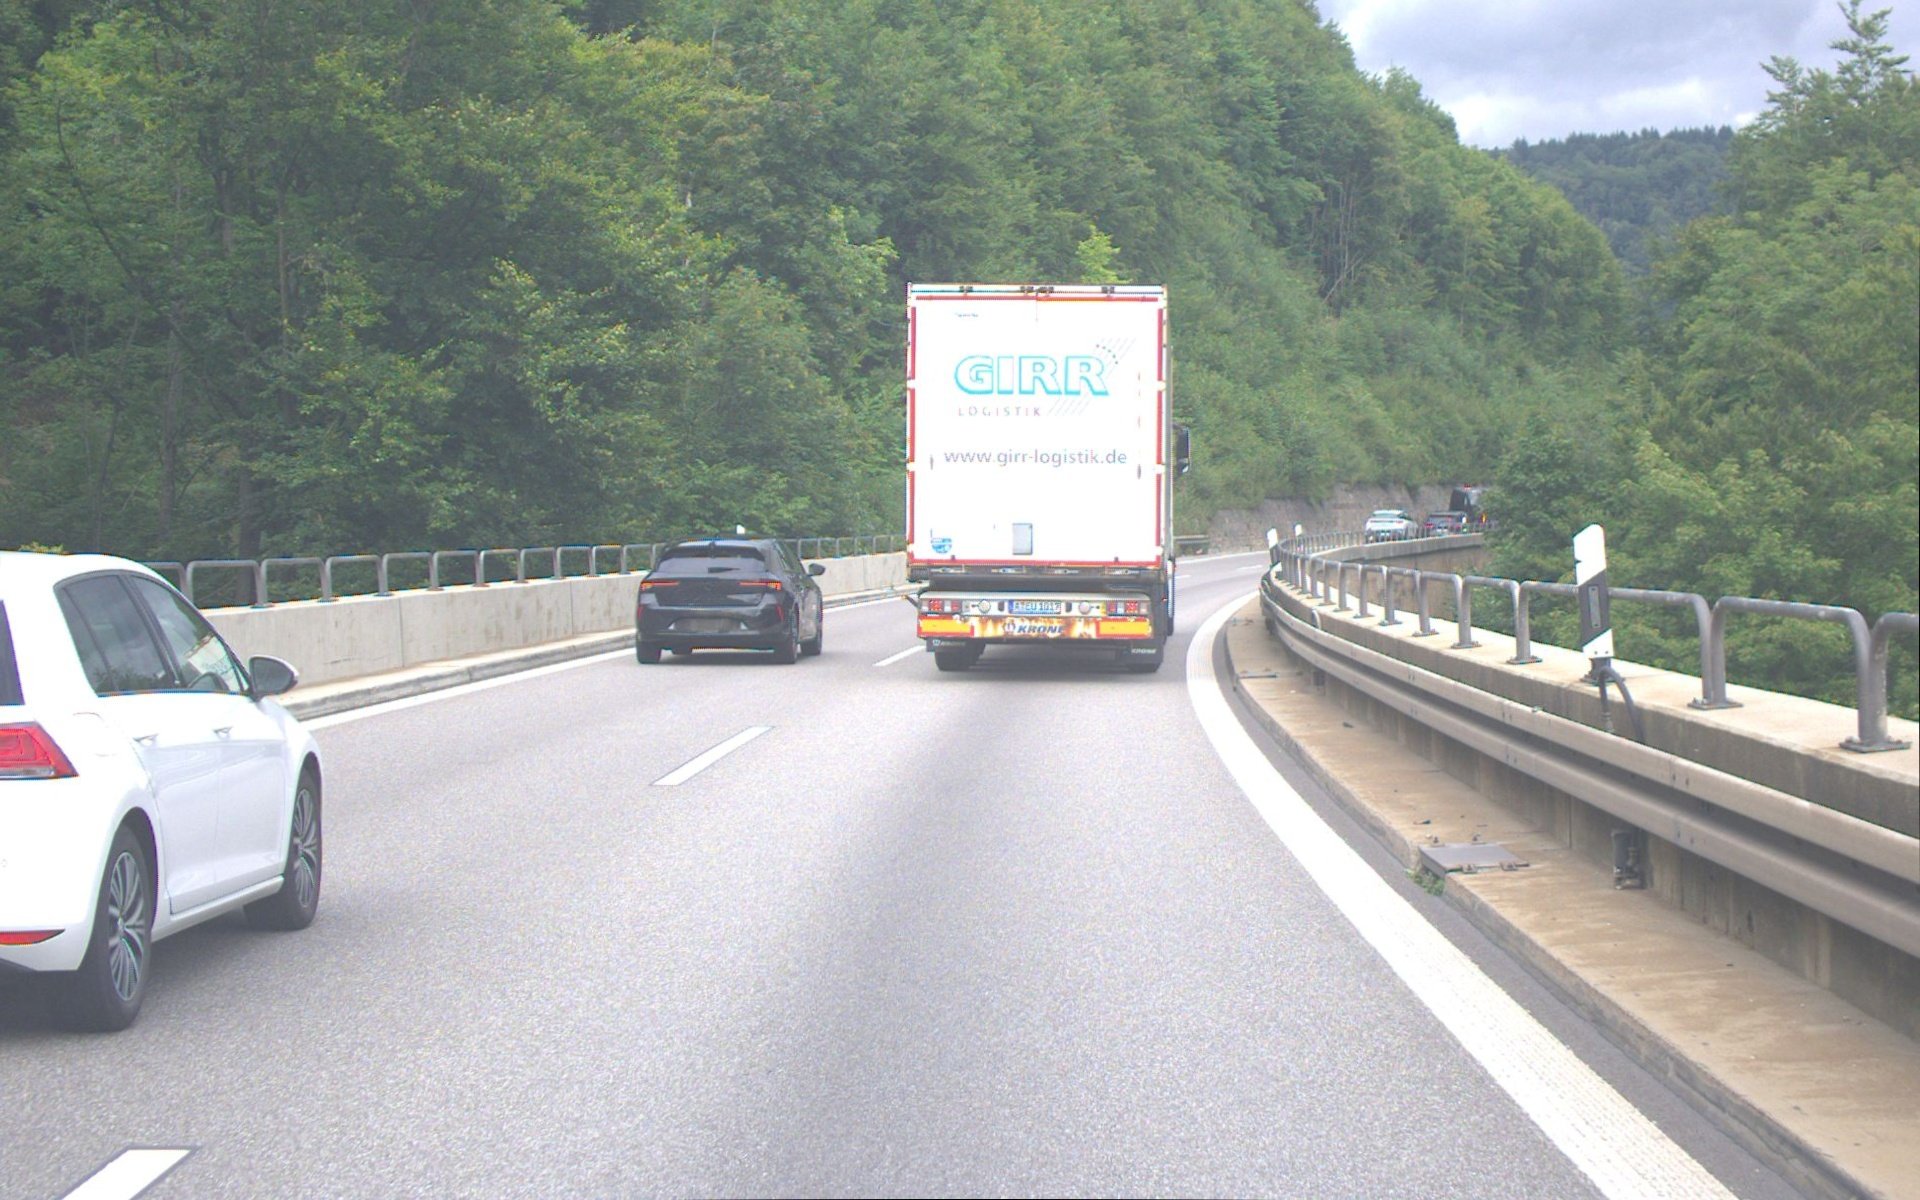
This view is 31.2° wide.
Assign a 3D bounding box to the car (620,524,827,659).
[{"bbox_3d":[-2.656,-0.124,39.616,1.773,1.456,4.581,0,1,4],"label":"car"}]

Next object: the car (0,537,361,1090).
[{"bbox_3d":[-3.350,0.537,11.620,1.845,1.476,4.628,0,1,0],"label":"car"}]

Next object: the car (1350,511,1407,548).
[{"bbox_3d":[19.145,-3.209,157.052,1.995,1.560,3.997,0,0,16],"label":"car"}]

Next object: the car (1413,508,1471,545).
[{"bbox_3d":[21.221,-3.219,151.123,1.995,1.560,3.997,0,0,16],"label":"car"}]

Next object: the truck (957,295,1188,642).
[{"bbox_3d":[1.616,-1.666,46.168,2.814,4.288,6.258,-1,0,4],"label":"truck"}]

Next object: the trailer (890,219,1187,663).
[{"bbox_3d":[1.170,-1.606,39.749,2.814,4.288,12.243,-1,0,4],"label":"trailer"}]
